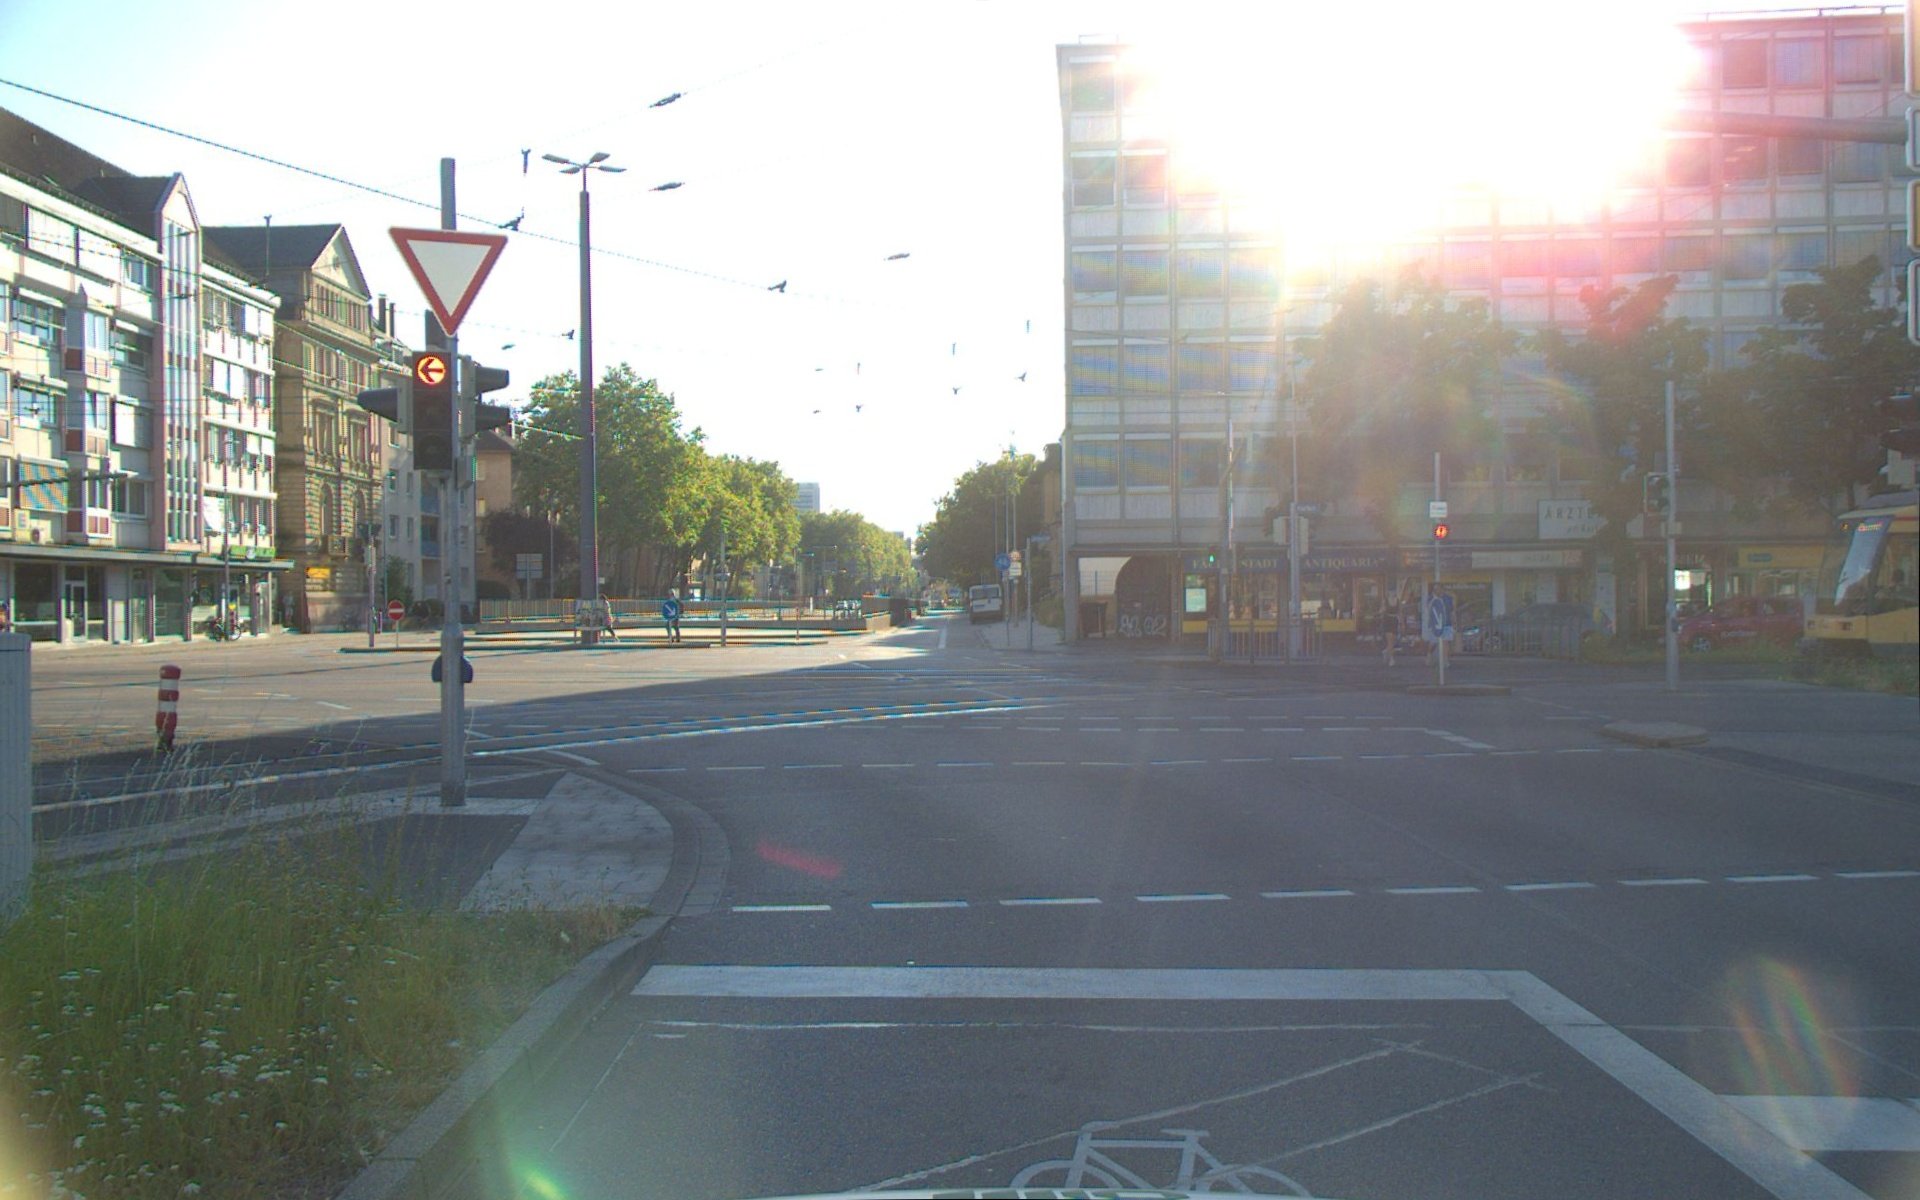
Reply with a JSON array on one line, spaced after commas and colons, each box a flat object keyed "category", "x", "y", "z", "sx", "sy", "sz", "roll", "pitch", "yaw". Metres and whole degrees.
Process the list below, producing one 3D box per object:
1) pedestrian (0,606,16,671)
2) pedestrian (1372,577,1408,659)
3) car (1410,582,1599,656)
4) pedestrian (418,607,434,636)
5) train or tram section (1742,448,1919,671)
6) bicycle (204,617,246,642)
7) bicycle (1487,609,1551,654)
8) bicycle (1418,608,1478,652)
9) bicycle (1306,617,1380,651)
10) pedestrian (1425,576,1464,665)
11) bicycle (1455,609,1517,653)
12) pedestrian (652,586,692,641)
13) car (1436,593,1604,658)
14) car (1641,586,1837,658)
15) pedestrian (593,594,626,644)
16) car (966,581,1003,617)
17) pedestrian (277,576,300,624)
[{"category": "pedestrian", "x": -30.421, "y": 1.199, "z": 51.771, "sx": 1.171, "sy": 1.914, "sz": 0.856, "roll": 1, "pitch": 7, "yaw": -5}, {"category": "pedestrian", "x": 9.198, "y": 0.388, "z": 35.382, "sx": 0.680, "sy": 1.712, "sz": 1.043, "roll": 1, "pitch": 0, "yaw": 12}, {"category": "car", "x": 12.853, "y": 0.448, "z": 39.204, "sx": 3.903, "sy": 1.646, "sz": 1.845, "roll": 1, "pitch": 0, "yaw": 4}, {"category": "pedestrian", "x": -32.345, "y": 1.316, "z": 100.195, "sx": 0.681, "sy": 1.725, "sz": 0.724, "roll": 1, "pitch": -1, "yaw": -1}, {"category": "train or tram section", "x": 22.067, "y": -0.764, "z": 31.037, "sx": 13.044, "sy": 3.901, "sz": 3.715, "roll": -1, "pitch": 0, "yaw": -1}, {"category": "bicycle", "x": -32.440, "y": 1.291, "z": 73.023, "sx": 0.441, "sy": 1.089, "sz": 2.093, "roll": 1, "pitch": 0, "yaw": 16}, {"category": "bicycle", "x": 16.769, "y": 0.929, "z": 49.678, "sx": 0.735, "sy": 1.163, "sz": 2.638, "roll": 1, "pitch": 2, "yaw": -6}, {"category": "bicycle", "x": 14.584, "y": 0.882, "z": 49.542, "sx": 0.735, "sy": 1.163, "sz": 2.638, "roll": 1, "pitch": 2, "yaw": -6}, {"category": "bicycle", "x": 11.201, "y": 0.988, "z": 48.374, "sx": 1.983, "sy": 0.957, "sz": 0.671, "roll": 1, "pitch": 0, "yaw": -2}, {"category": "pedestrian", "x": 10.104, "y": 0.421, "z": 34.518, "sx": 0.680, "sy": 1.824, "sz": 1.043, "roll": 1, "pitch": -1, "yaw": 12}, {"category": "bicycle", "x": 15.755, "y": 0.911, "z": 49.607, "sx": 0.735, "sy": 1.163, "sz": 2.638, "roll": 1, "pitch": 2, "yaw": -6}, {"category": "pedestrian", "x": -9.396, "y": 0.425, "z": 54.015, "sx": 1.171, "sy": 1.761, "sz": 0.855, "roll": 1, "pitch": -1, "yaw": -5}, {"category": "car", "x": 15.124, "y": 0.681, "z": 44.837, "sx": 3.982, "sy": 1.646, "sz": 1.845, "roll": 1, "pitch": 0, "yaw": 4}, {"category": "car", "x": 18.905, "y": 0.527, "z": 40.249, "sx": 3.903, "sy": 1.646, "sz": 1.845, "roll": 1, "pitch": 0, "yaw": 4}, {"category": "pedestrian", "x": -10.985, "y": 0.606, "z": 51.876, "sx": 0.844, "sy": 1.491, "sz": 0.679, "roll": 1, "pitch": -6, "yaw": -30}, {"category": "car", "x": 1.560, "y": -0.053, "z": 103.933, "sx": 2.238, "sy": 2.210, "sz": 4.834, "roll": 1, "pitch": 0, "yaw": 1}, {"category": "pedestrian", "x": -34.533, "y": -0.002, "z": 85.070, "sx": 0.910, "sy": 2.440, "sz": 0.958, "roll": 1, "pitch": -1, "yaw": -11}]
